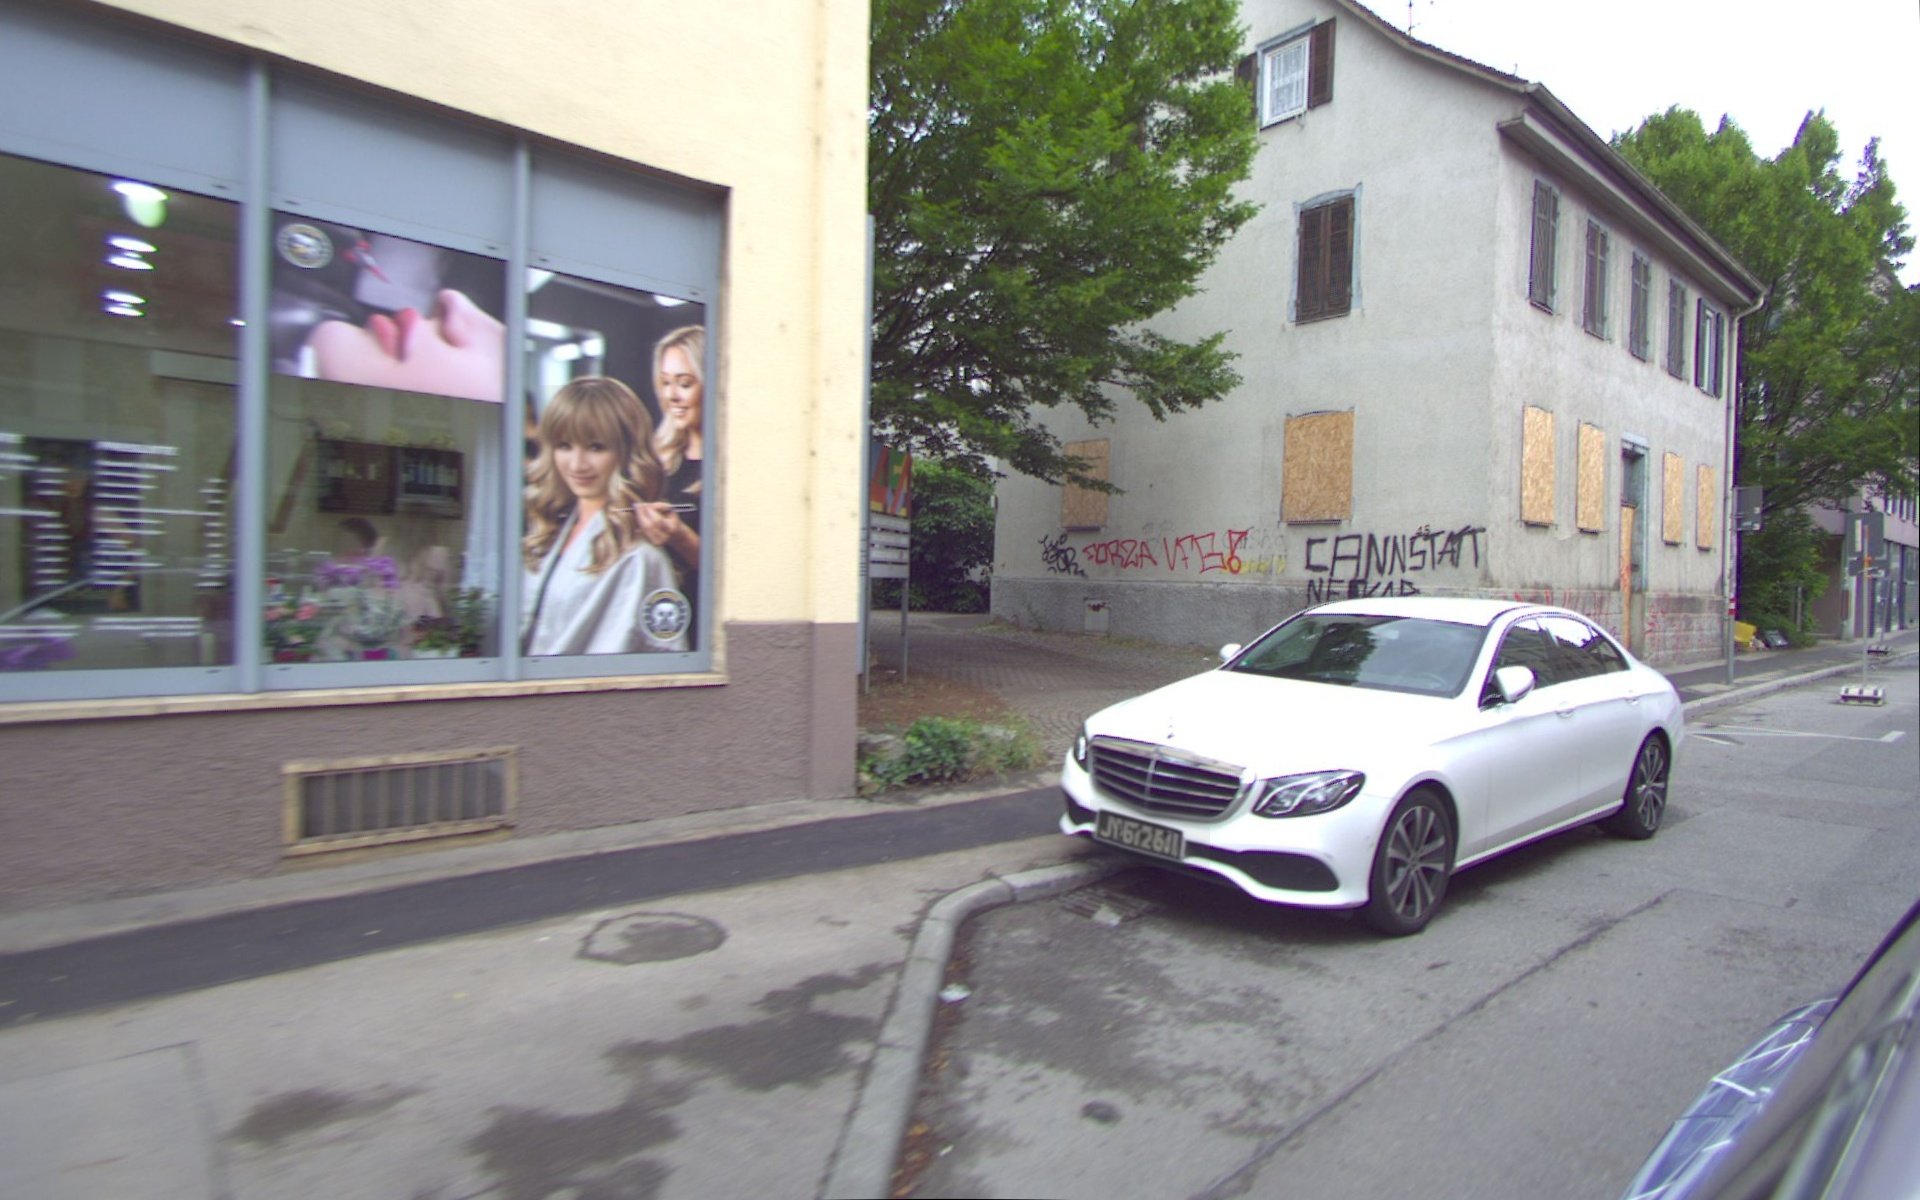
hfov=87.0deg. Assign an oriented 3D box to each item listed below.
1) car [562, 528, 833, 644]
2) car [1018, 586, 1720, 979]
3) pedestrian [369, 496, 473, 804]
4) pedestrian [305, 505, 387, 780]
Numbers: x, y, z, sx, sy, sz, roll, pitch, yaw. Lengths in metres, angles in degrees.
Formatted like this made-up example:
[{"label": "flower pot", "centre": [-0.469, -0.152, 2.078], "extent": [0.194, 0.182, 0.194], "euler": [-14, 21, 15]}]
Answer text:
[{"label": "car", "centre": [-4.056, -0.259, 15.817], "extent": [3.777, 1.629, 1.659], "euler": [2, 2, 15]}, {"label": "car", "centre": [2.695, 0.675, 6.040], "extent": [4.695, 1.484, 1.772], "euler": [-1, 2, -38]}, {"label": "pedestrian", "centre": [-2.858, 0.244, 5.366], "extent": [0.412, 1.550, 0.373], "euler": [-1, 1, -38]}, {"label": "pedestrian", "centre": [-3.623, 0.235, 5.969], "extent": [0.351, 1.550, 0.373], "euler": [-1, 1, -38]}]
